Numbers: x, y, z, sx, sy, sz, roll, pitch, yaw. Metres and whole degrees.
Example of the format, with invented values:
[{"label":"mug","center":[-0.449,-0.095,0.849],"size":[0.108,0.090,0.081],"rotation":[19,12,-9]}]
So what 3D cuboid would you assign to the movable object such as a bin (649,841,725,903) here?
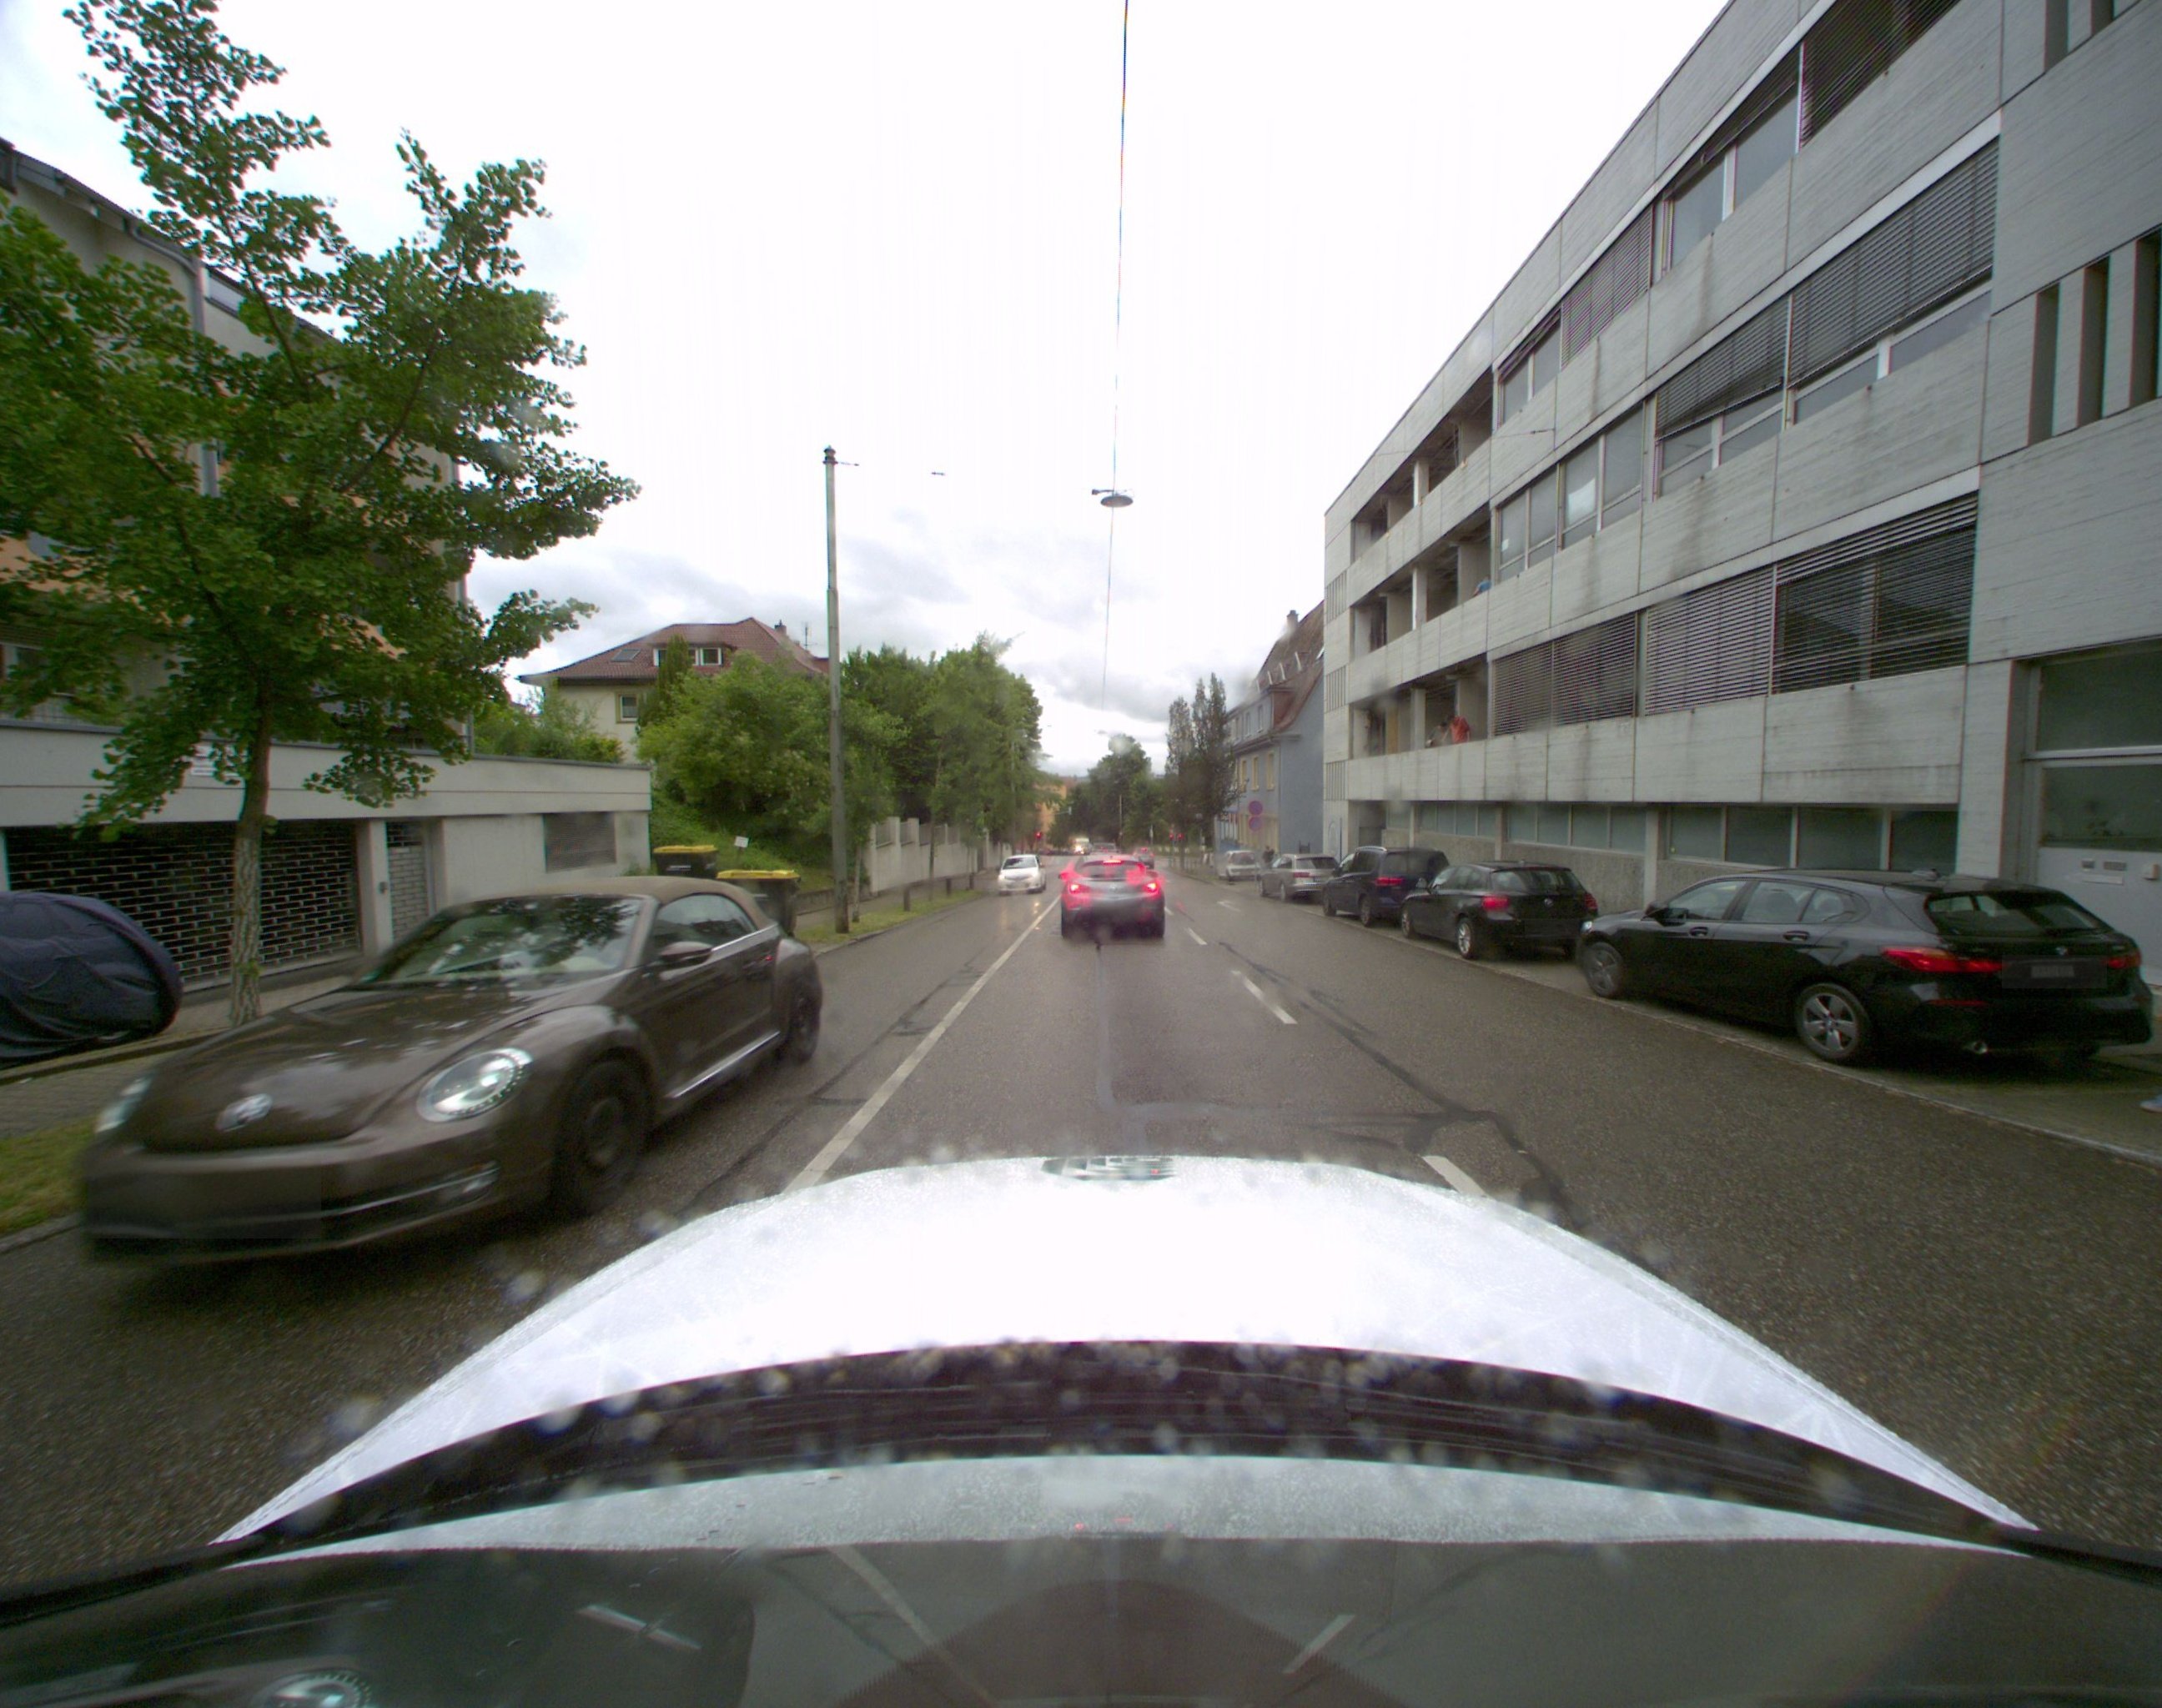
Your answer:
[{"label":"movable object such as a bin","center":[-9.757,0.421,20.226],"size":[1.296,1.363,1.225],"rotation":[0,6,-6]}]

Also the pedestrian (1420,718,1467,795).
[{"label":"pedestrian","center":[9.975,-2.671,22.456],"size":[0.904,2.014,0.861],"rotation":[0,-1,1]}]

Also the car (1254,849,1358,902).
[{"label":"car","center":[6.885,0.609,25.425],"size":[1.956,1.448,4.526],"rotation":[-1,0,0]}]

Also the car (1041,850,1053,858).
[{"label":"car","center":[-7.109,-0.036,170.089],"size":[1.726,1.638,3.858],"rotation":[-2,0,-16]}]

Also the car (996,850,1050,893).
[{"label":"car","center":[-2.278,0.654,32.762],"size":[1.703,1.531,3.843],"rotation":[-4,0,1]}]

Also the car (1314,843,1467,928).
[{"label":"car","center":[6.581,0.601,17.818],"size":[1.723,1.599,4.160],"rotation":[-1,0,0]}]

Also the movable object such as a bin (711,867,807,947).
[{"label":"movable object such as a bin","center":[-5.680,0.911,14.467],"size":[1.297,1.306,1.153],"rotation":[0,1,-7]}]

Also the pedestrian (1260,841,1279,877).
[{"label":"pedestrian","center":[9.179,0.254,39.626],"size":[0.780,1.729,0.651],"rotation":[0,0,1]}]

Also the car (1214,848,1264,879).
[{"label":"car","center":[7.759,0.442,40.298],"size":[1.717,1.448,3.880],"rotation":[-2,0,0]}]

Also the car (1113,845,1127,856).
[{"label":"car","center":[5.793,-0.537,120.600],"size":[1.718,1.638,3.877],"rotation":[-2,0,-2]}]

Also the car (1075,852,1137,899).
[{"label":"car","center":[0.797,0.684,27.832],"size":[1.955,1.448,4.305],"rotation":[0,0,0]}]

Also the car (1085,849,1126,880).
[{"label":"car","center":[1.212,0.502,41.169],"size":[1.955,1.448,4.305],"rotation":[0,0,0]}]

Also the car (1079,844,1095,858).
[{"label":"car","center":[0.768,-0.401,104.396],"size":[1.864,1.638,3.880],"rotation":[-2,0,0]}]

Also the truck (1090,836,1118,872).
[{"label":"truck","center":[1.612,-0.016,58.834],"size":[1.955,2.429,4.936],"rotation":[0,0,0]}]

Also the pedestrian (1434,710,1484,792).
[{"label":"pedestrian","center":[9.905,-2.679,21.349],"size":[0.904,2.014,0.861],"rotation":[0,-1,1]}]

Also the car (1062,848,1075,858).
[{"label":"car","center":[-2.164,-0.163,137.379],"size":[1.722,1.638,3.867],"rotation":[0,0,-10]}]

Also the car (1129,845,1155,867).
[{"label":"car","center":[4.982,0.181,66.801],"size":[1.717,1.714,3.879],"rotation":[-2,0,0]}]

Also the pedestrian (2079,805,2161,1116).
[{"label":"pedestrian","center":[6.721,0.617,4.812],"size":[1.075,1.782,0.818],"rotation":[1,0,-25]}]

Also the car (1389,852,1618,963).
[{"label":"car","center":[6.528,0.729,13.182],"size":[1.740,1.448,4.256],"rotation":[-1,0,4]}]

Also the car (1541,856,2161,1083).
[{"label":"car","center":[6.512,0.760,7.549],"size":[1.987,1.435,4.442],"rotation":[0,0,0]}]

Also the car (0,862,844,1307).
[{"label":"car","center":[-2.970,0.849,4.922],"size":[1.771,1.448,4.001],"rotation":[-3,0,1]}]

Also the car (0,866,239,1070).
[{"label":"car","center":[-9.404,0.985,6.086],"size":[1.771,1.561,4.099],"rotation":[-5,0,1]}]

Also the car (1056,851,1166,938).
[{"label":"car","center":[0.501,0.669,15.604],"size":[1.831,1.434,3.879],"rotation":[-1,0,0]}]

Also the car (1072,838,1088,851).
[{"label":"car","center":[-0.189,-1.320,112.059],"size":[1.721,1.638,3.870],"rotation":[-2,0,-7]}]

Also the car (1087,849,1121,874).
[{"label":"car","center":[1.317,0.424,48.833],"size":[1.955,1.448,4.305],"rotation":[0,0,0]}]
